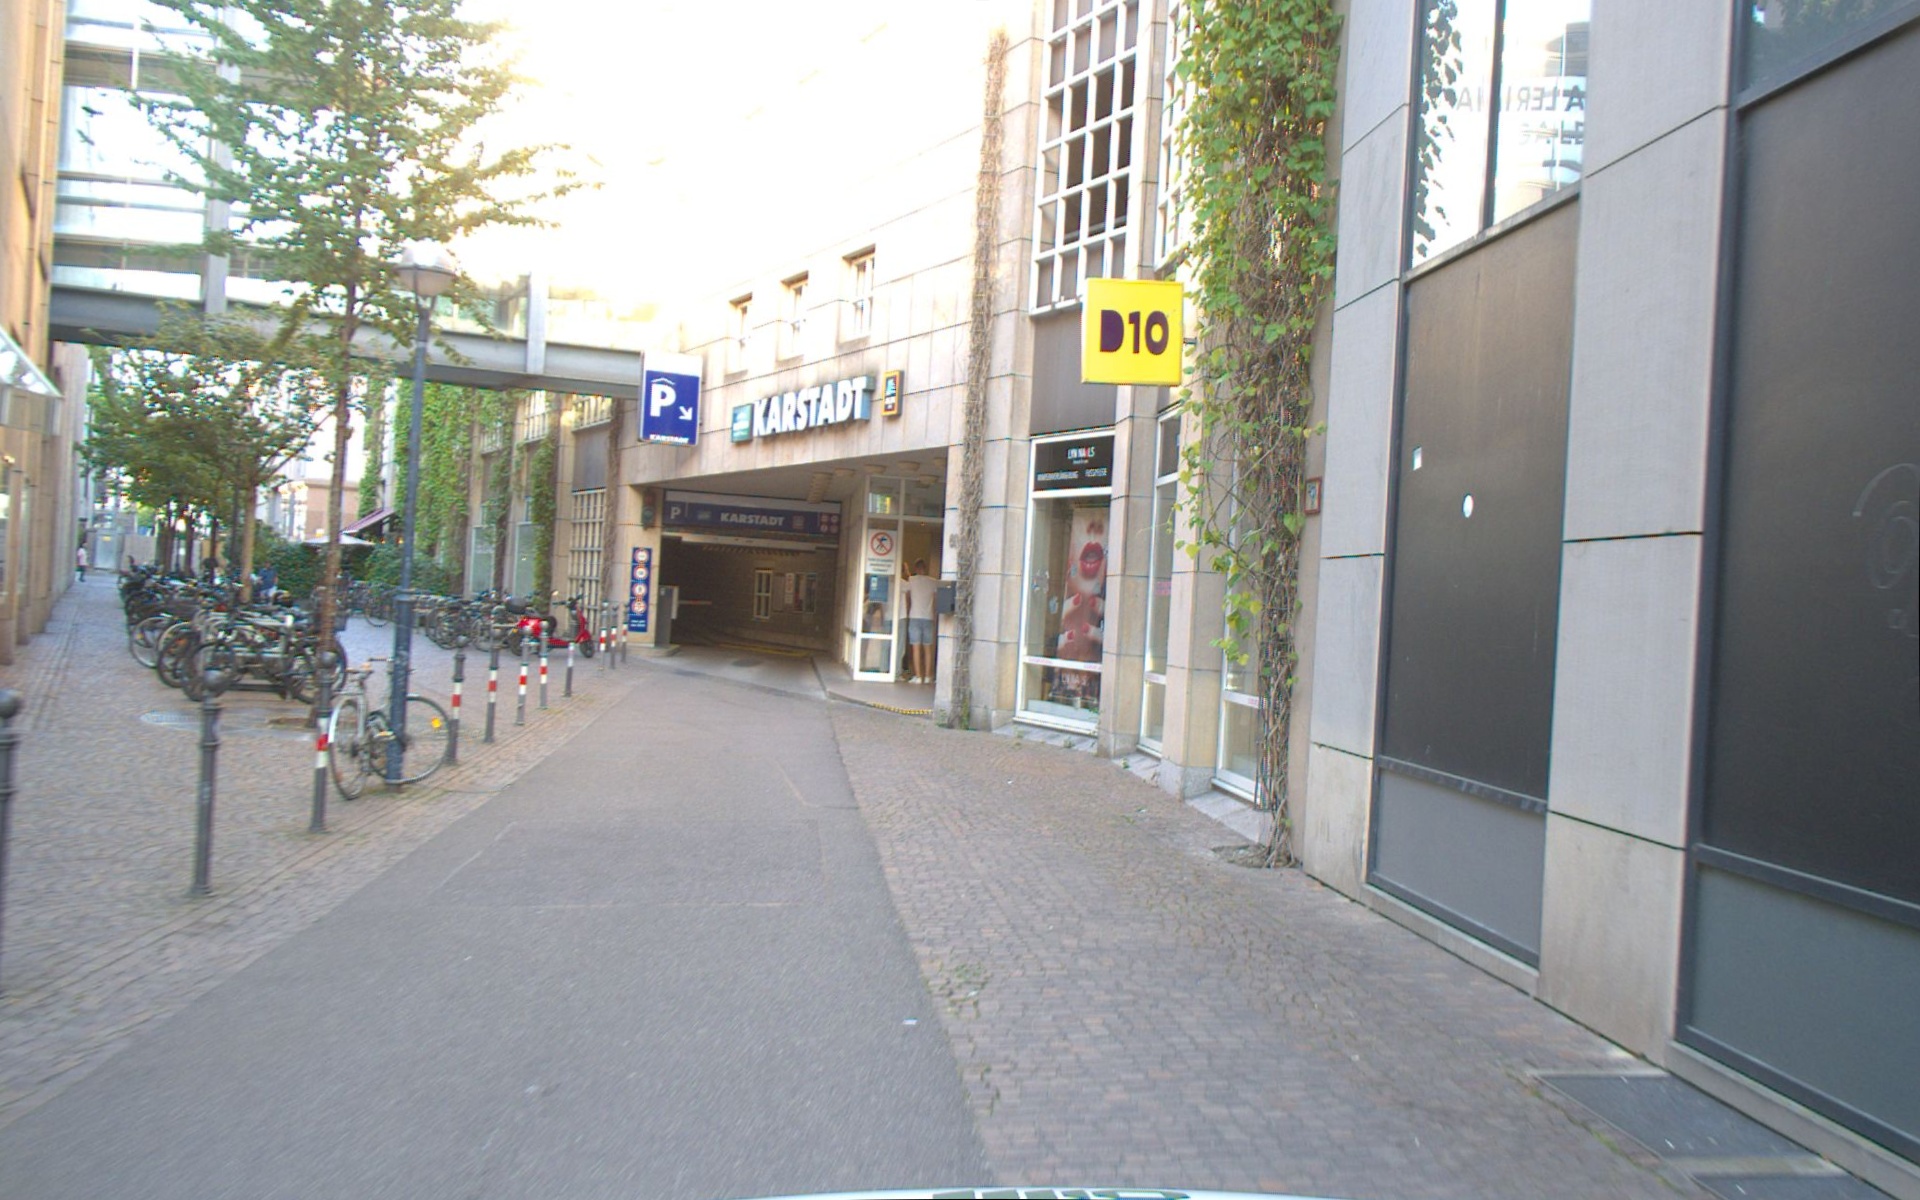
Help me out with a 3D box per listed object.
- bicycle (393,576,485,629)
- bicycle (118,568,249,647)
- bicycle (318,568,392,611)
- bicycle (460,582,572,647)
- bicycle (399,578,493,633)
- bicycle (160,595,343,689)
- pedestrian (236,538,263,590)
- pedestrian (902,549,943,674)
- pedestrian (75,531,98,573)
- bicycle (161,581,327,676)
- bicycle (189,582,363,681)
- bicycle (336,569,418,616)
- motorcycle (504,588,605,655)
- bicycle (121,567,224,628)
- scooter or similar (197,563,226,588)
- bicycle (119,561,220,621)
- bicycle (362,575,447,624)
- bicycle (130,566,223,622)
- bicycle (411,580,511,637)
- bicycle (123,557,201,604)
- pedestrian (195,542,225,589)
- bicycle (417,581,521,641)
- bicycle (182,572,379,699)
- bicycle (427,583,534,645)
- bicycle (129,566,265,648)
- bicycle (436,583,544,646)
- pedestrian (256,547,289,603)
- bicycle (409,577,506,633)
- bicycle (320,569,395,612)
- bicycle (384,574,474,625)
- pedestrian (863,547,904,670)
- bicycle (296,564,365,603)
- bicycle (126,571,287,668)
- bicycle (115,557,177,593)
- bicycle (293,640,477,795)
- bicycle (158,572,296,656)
[{"bbox_3d":[-12.243,0.064,38.853,1.969,1.203,0.688,1,1,-26],"label":"bicycle"},{"bbox_3d":[-12.794,0.123,27.308,1.887,1.203,0.691,3,0,-24],"label":"bicycle"},{"bbox_3d":[-17.619,-0.303,48.174,1.969,1.203,0.688,1,1,-26],"label":"bicycle"},{"bbox_3d":[-8.540,0.284,31.817,1.969,1.203,0.690,1,1,-26],"label":"bicycle"},{"bbox_3d":[-11.699,0.121,37.674,1.969,1.203,0.688,1,1,-26],"label":"bicycle"},{"bbox_3d":[-8.269,0.493,19.320,1.890,1.011,0.690,3,0,-27],"label":"bicycle"},{"bbox_3d":[-25.791,-1.313,60.025,0.756,1.836,0.770,2,0,-28],"label":"pedestrian"},{"bbox_3d":[-0.584,0.166,25.602,0.531,1.893,0.408,3,1,0],"label":"pedestrian"},{"bbox_3d":[-38.237,-2.099,72.371,0.767,1.836,0.627,2,0,-33],"label":"pedestrian"},{"bbox_3d":[-9.205,0.369,21.326,1.887,1.121,0.691,3,0,-24],"label":"bicycle"},{"bbox_3d":[-8.361,0.392,20.233,1.890,1.121,0.690,3,0,-27],"label":"bicycle"},{"bbox_3d":[-15.416,-0.187,43.752,1.969,1.203,0.688,1,1,-26],"label":"bicycle"},{"bbox_3d":[-7.419,0.395,30.267,1.722,1.175,0.590,1,1,-24],"label":"motorcycle"},{"bbox_3d":[-16.770,-0.059,35.275,1.887,1.203,0.691,3,0,-24],"label":"bicycle"},{"bbox_3d":[-26.988,-0.882,59.624,0.881,0.858,0.903,2,0,-28],"label":"scooter or similar"},{"bbox_3d":[-17.204,-0.186,36.034,1.887,1.203,0.691,3,0,-24],"label":"bicycle"},{"bbox_3d":[-14.118,-0.013,42.067,1.969,1.203,0.688,1,1,-26],"label":"bicycle"},{"bbox_3d":[-18.333,-0.144,38.754,1.887,1.203,0.691,3,0,-24],"label":"bicycle"},{"bbox_3d":[-10.831,0.183,35.897,1.969,1.203,0.796,1,1,-26],"label":"bicycle"},{"bbox_3d":[-22.269,-0.538,46.193,1.887,1.203,0.691,3,0,-24],"label":"bicycle"},{"bbox_3d":[-27.404,-1.272,60.437,0.881,1.668,0.903,2,0,-28],"label":"pedestrian"},{"bbox_3d":[-10.247,0.228,34.504,1.969,1.203,0.796,1,1,-26],"label":"bicycle"},{"bbox_3d":[-7.389,0.393,18.003,1.890,1.283,0.802,3,0,-27],"label":"bicycle"},{"bbox_3d":[-9.685,0.279,33.431,1.969,1.203,0.796,1,1,-26],"label":"bicycle"},{"bbox_3d":[-12.127,0.119,26.340,1.887,1.203,0.691,3,0,-24],"label":"bicycle"},{"bbox_3d":[-9.259,0.290,32.595,1.969,1.203,0.690,1,1,-26],"label":"bicycle"},{"bbox_3d":[-19.490,-0.710,46.889,0.739,1.535,0.632,2,0,-28],"label":"pedestrian"},{"bbox_3d":[-11.189,0.119,36.847,1.969,1.203,0.688,1,1,-26],"label":"bicycle"},{"bbox_3d":[-17.265,-0.267,47.402,1.969,1.203,0.688,1,1,-26],"label":"bicycle"},{"bbox_3d":[-12.792,-0.008,39.866,1.969,1.203,0.688,1,1,-26],"label":"bicycle"},{"bbox_3d":[-1.193,0.128,25.765,0.531,1.878,0.408,3,1,0],"label":"pedestrian"},{"bbox_3d":[-19.939,-0.522,52.411,1.969,1.203,0.688,1,1,-26],"label":"bicycle"},{"bbox_3d":[-10.047,0.264,22.130,1.887,1.203,0.691,3,0,-24],"label":"bicycle"},{"bbox_3d":[-29.071,-0.889,59.093,1.887,1.203,0.691,3,0,-24],"label":"bicycle"},{"bbox_3d":[-4.129,0.811,12.010,0.494,0.983,1.696,2,0,9],"label":"bicycle"},{"bbox_3d":[-11.355,0.215,25.689,1.887,1.203,0.691,3,0,-24],"label":"bicycle"}]
